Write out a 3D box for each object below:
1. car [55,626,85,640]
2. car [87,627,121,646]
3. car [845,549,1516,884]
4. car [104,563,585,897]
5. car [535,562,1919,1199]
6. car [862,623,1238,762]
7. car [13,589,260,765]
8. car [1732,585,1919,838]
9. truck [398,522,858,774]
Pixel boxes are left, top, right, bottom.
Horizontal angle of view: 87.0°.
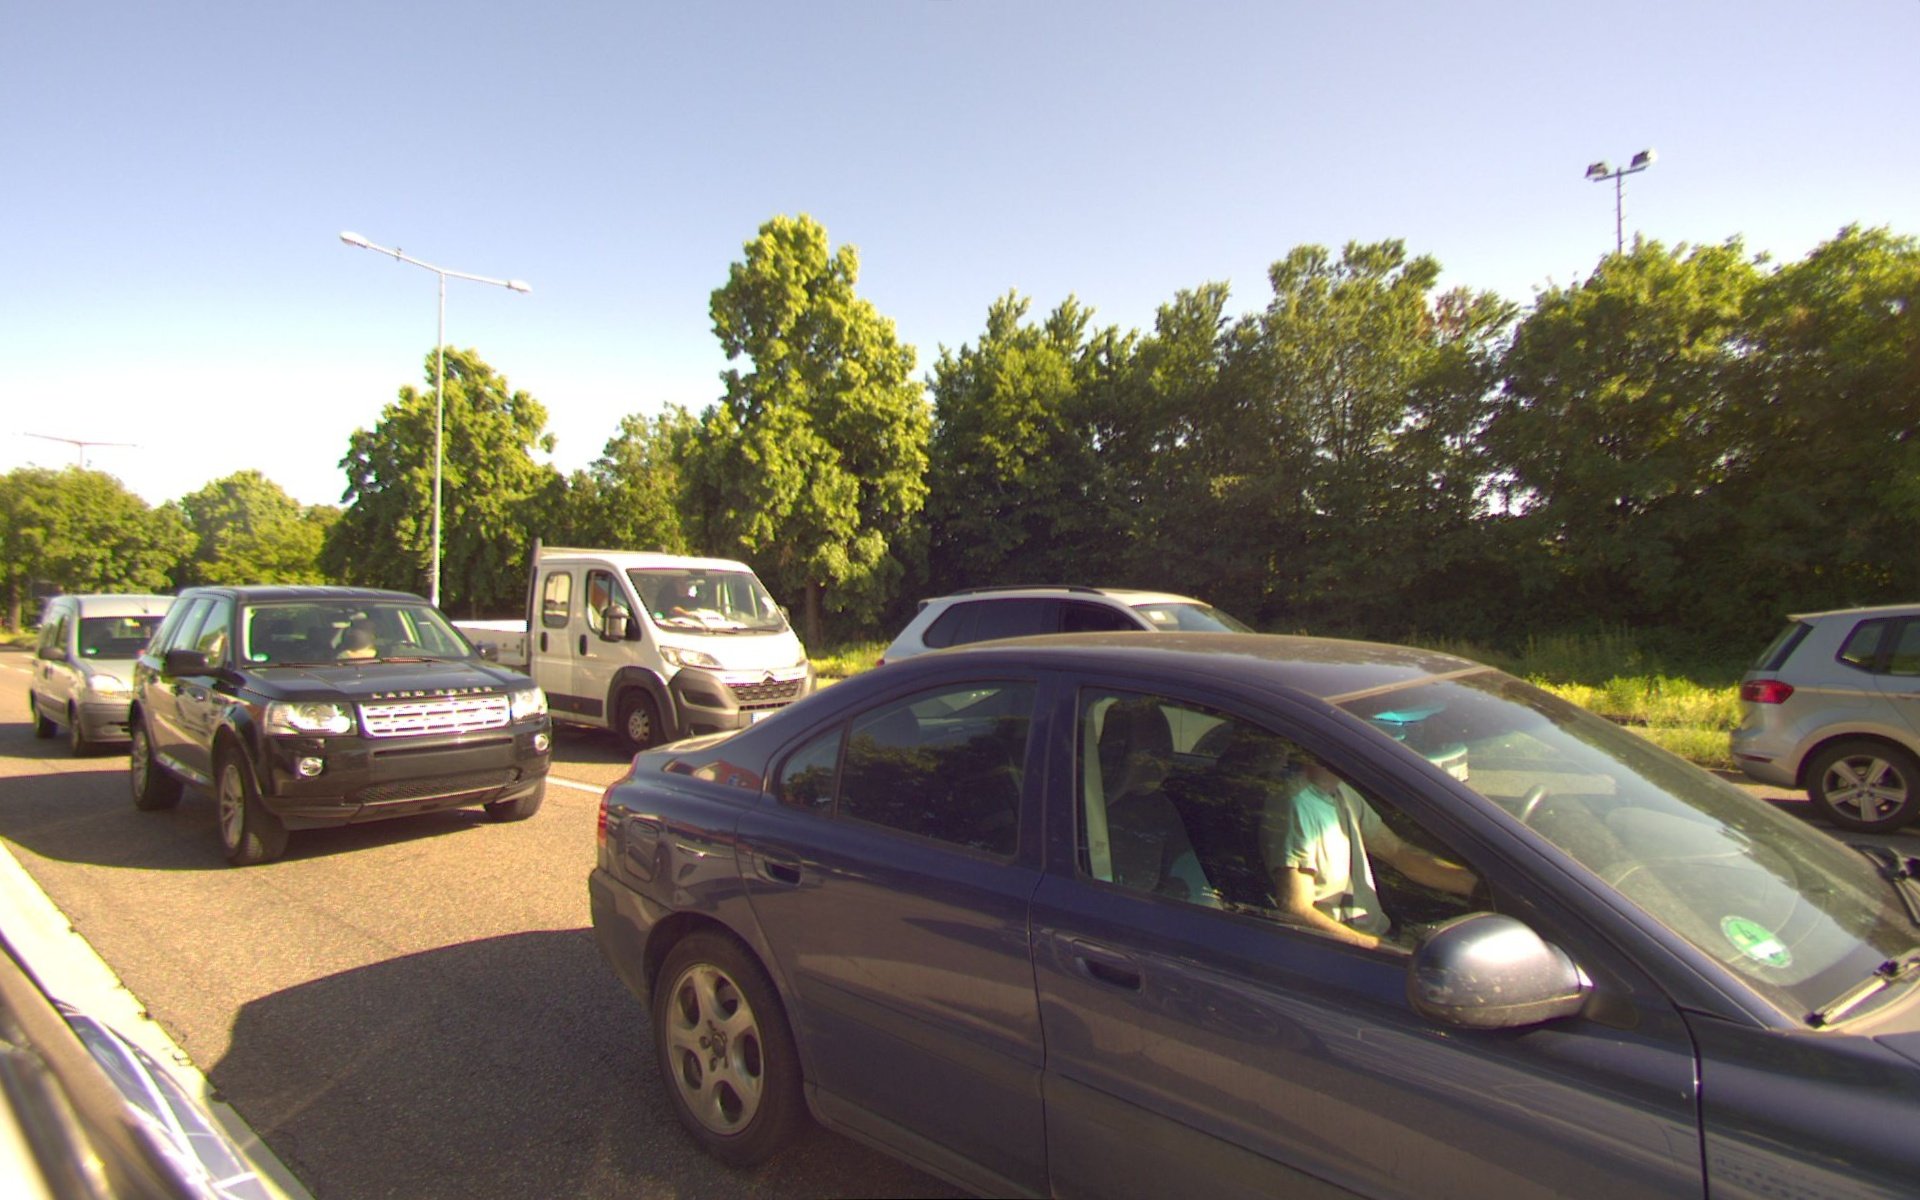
[{"bbox_3d":[-92.378,3.451,105.058,3.998,1.428,1.769,-2,-3,41],"label":"car"},{"bbox_3d":[-78.468,3.345,92.735,3.998,1.697,1.769,-2,-3,41],"label":"car"},{"bbox_3d":[1.379,0.673,7.435,4.422,1.723,1.973,-2,-3,41],"label":"car"},{"bbox_3d":[-4.696,0.702,7.426,4.384,1.744,1.793,-1,-1,41],"label":"car"},{"bbox_3d":[0.891,0.691,2.430,4.454,1.463,1.757,-1,0,41],"label":"car"},{"bbox_3d":[0.983,1.012,12.488,4.382,1.401,1.793,-1,-3,40],"label":"car"},{"bbox_3d":[-10.053,0.796,12.227,4.384,1.765,1.611,-1,-1,41],"label":"car"},{"bbox_3d":[7.630,0.718,6.419,4.206,1.623,1.810,-2,-3,42],"label":"car"},{"bbox_3d":[-4.405,0.478,12.454,6.838,2.337,2.158,-1,-1,40],"label":"truck"}]
